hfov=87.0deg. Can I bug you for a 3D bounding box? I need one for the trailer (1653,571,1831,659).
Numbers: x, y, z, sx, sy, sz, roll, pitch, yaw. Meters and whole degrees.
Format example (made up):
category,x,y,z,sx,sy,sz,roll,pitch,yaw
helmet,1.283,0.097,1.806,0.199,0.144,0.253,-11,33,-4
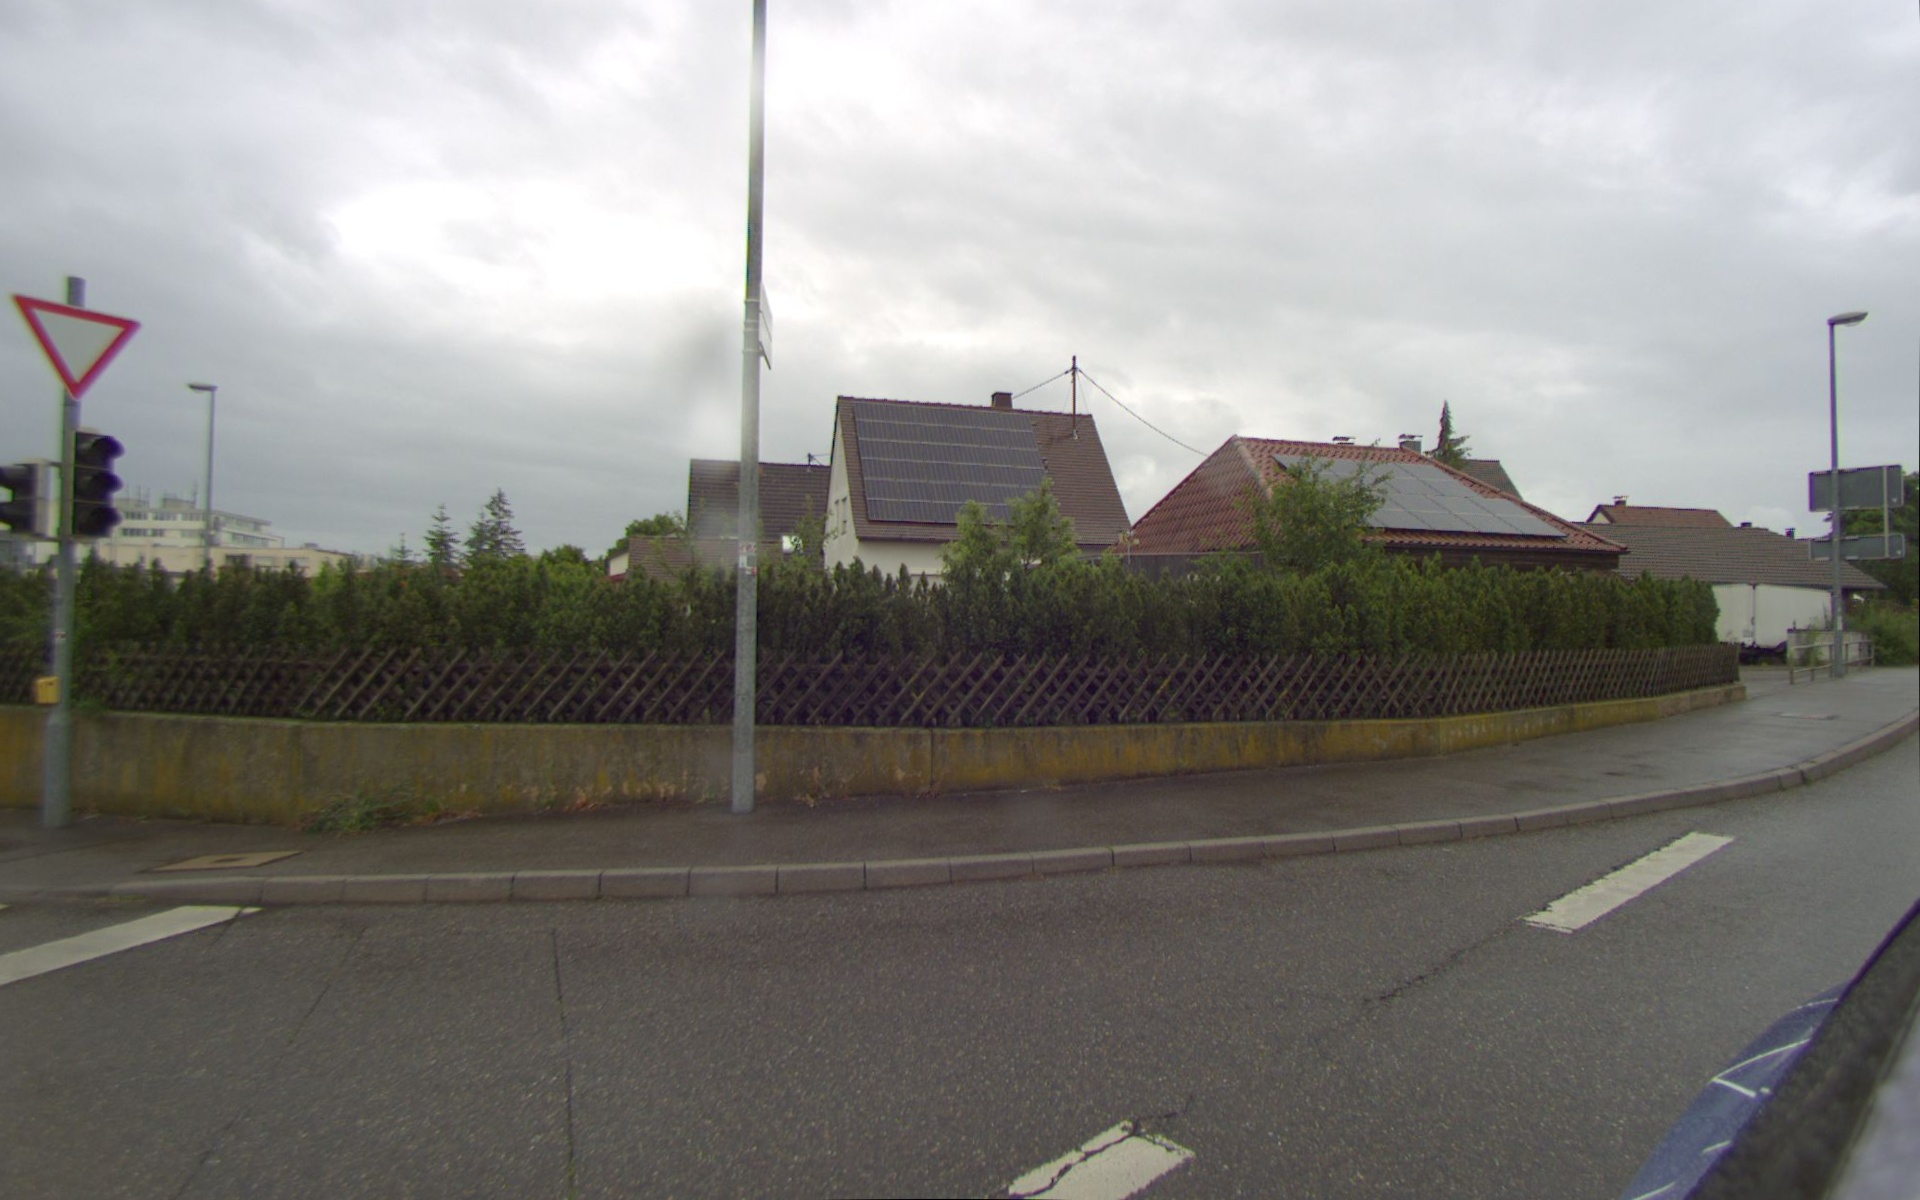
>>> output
category,x,y,z,sx,sy,sz,roll,pitch,yaw
trailer,23.711,0.452,30.728,4.605,2.550,1.652,0,-2,-13
